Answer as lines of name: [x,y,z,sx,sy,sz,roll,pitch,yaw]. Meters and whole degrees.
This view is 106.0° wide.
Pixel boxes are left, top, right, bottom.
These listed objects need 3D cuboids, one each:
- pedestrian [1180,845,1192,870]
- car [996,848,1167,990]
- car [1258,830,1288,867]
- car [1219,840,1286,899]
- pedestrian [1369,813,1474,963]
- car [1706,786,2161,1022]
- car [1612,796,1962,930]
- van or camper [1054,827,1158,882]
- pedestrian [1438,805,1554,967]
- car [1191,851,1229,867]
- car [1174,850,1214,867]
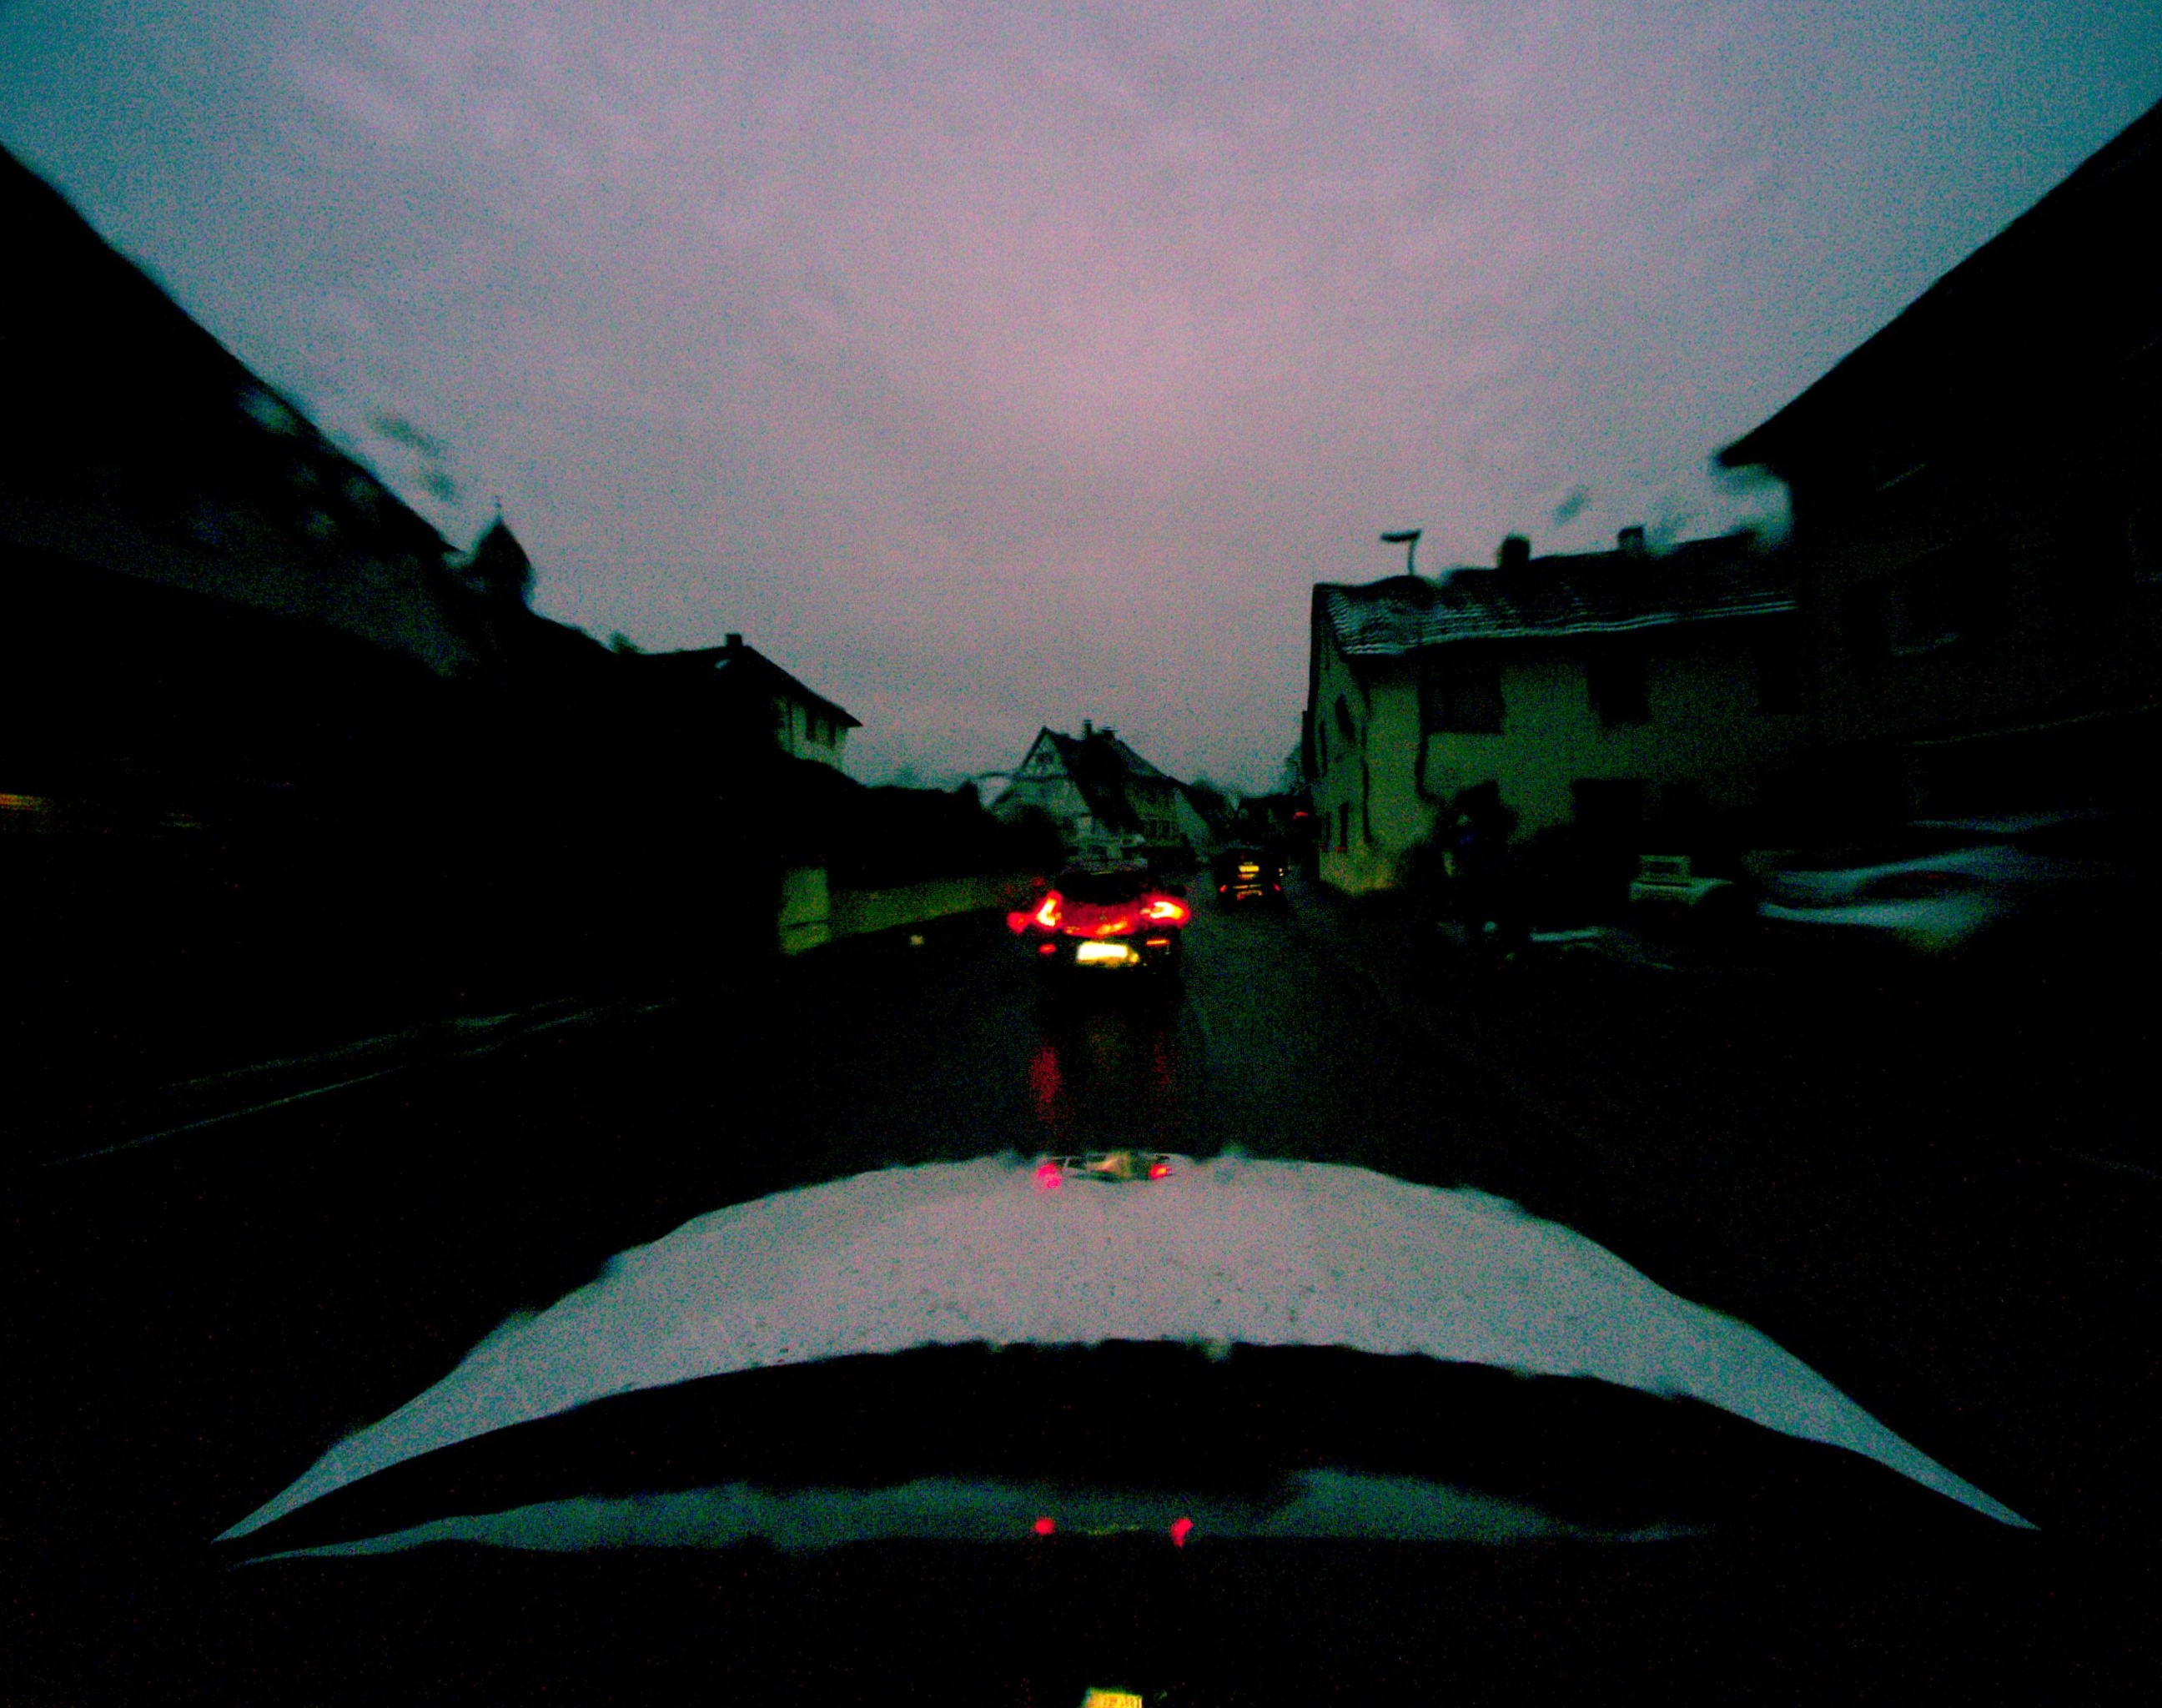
pedestrian: [8.513,0.296,65.979,0.867,2.013,0.798,-2,0,13]
car: [0.171,0.688,10.603,1.787,1.476,4.005,-1,0,5]
car: [13.369,-0.382,56.677,1.800,2.413,3.767,-2,0,15]
car: [5.249,0.440,25.278,1.836,1.637,4.348,-1,0,10]
pedestrian: [4.092,0.393,9.870,0.861,1.667,0.995,-5,-1,11]
car: [7.435,0.278,6.184,3.880,1.474,1.754,-4,0,6]
car: [9.286,0.114,10.926,3.202,1.474,1.589,-4,0,3]
van or camper: [1.639,0.053,52.615,6.011,2.955,2.418,-5,-1,19]
pedestrian: [4.793,0.352,9.485,0.843,1.733,0.975,-5,-1,11]
car: [12.766,0.495,80.288,3.481,1.507,1.699,-2,0,15]
car: [10.803,0.458,77.972,3.477,1.507,1.701,-2,0,21]
